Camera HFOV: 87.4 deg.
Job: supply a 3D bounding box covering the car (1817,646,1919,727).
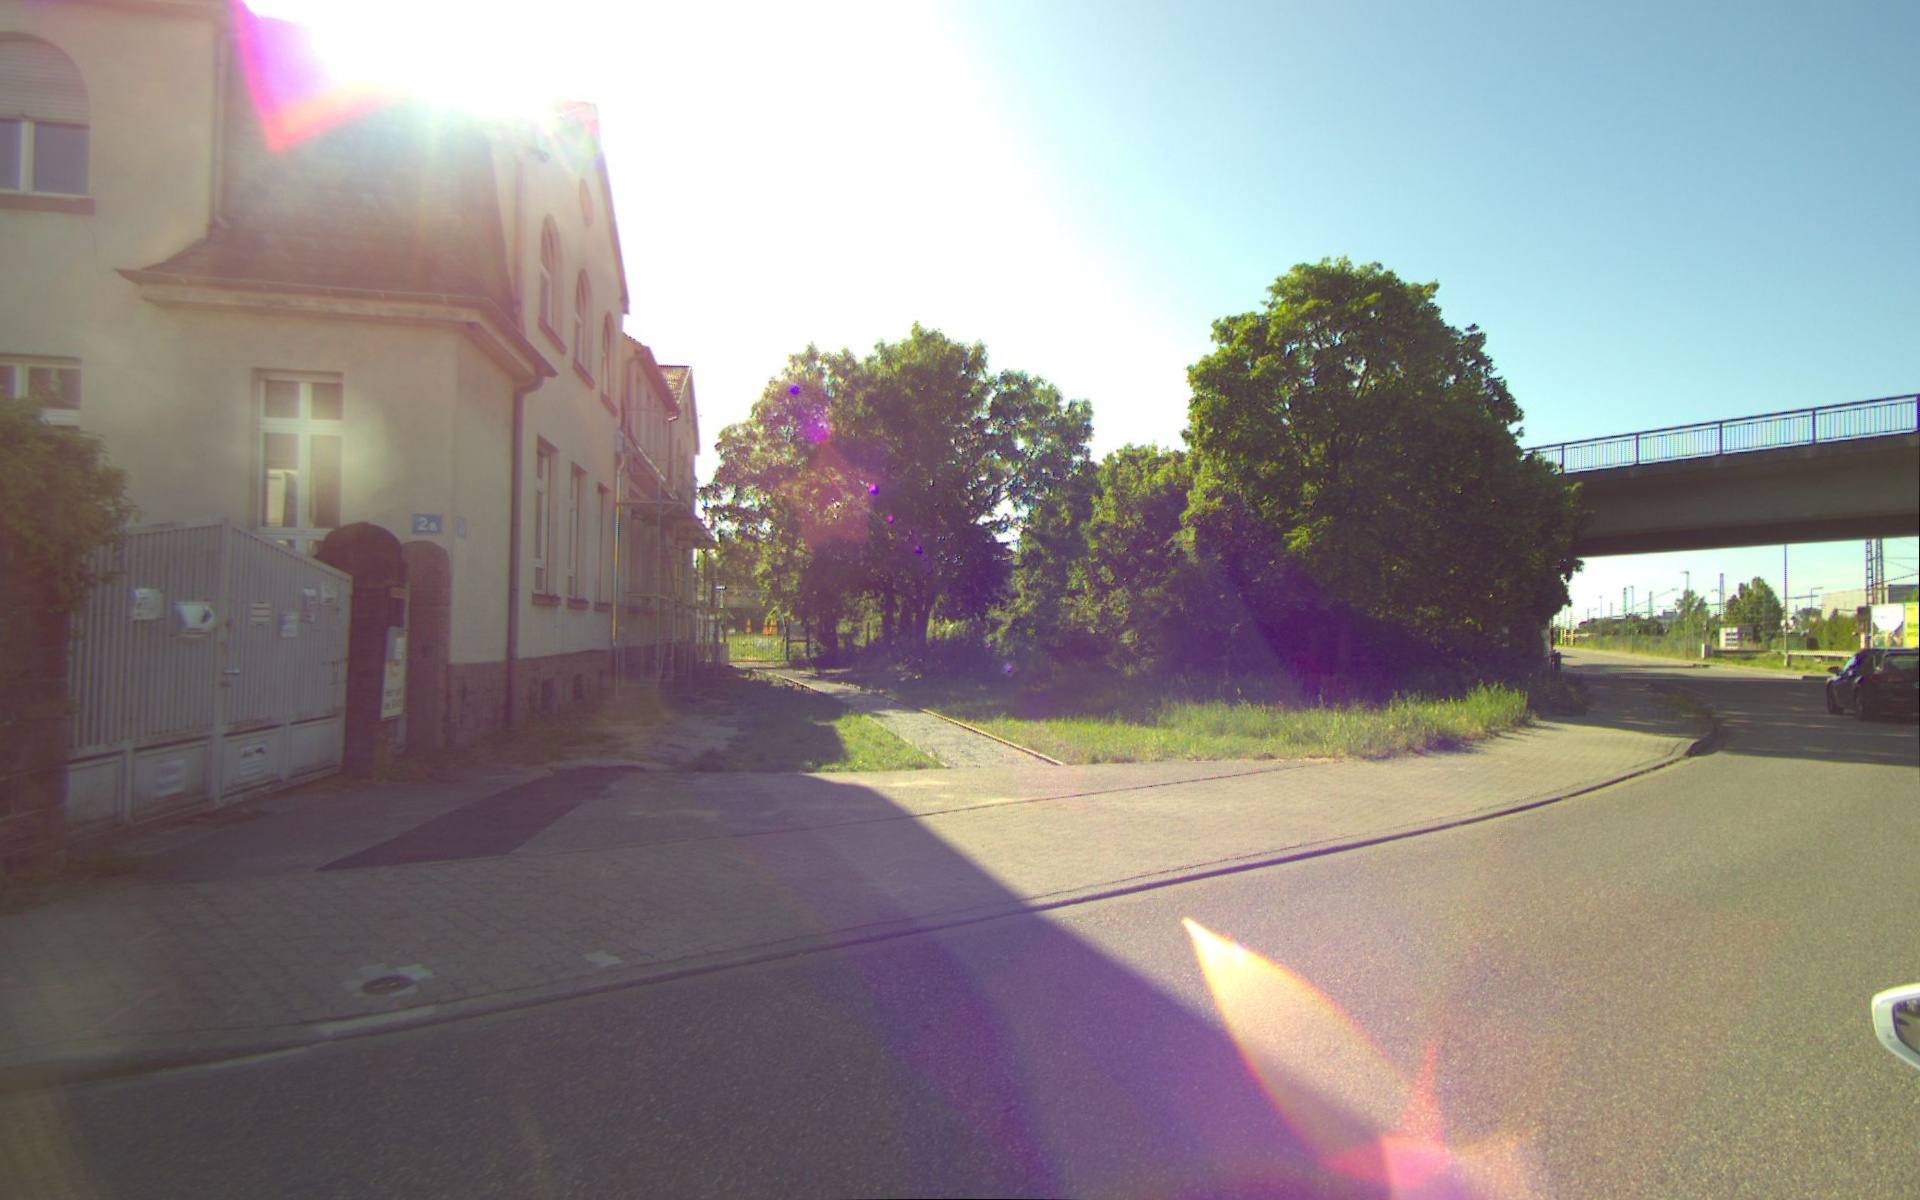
[{"bbox_3d":[19.447,1.728,20.770,1.915,1.508,4.555,0,-2,32],"label":"car"}]
